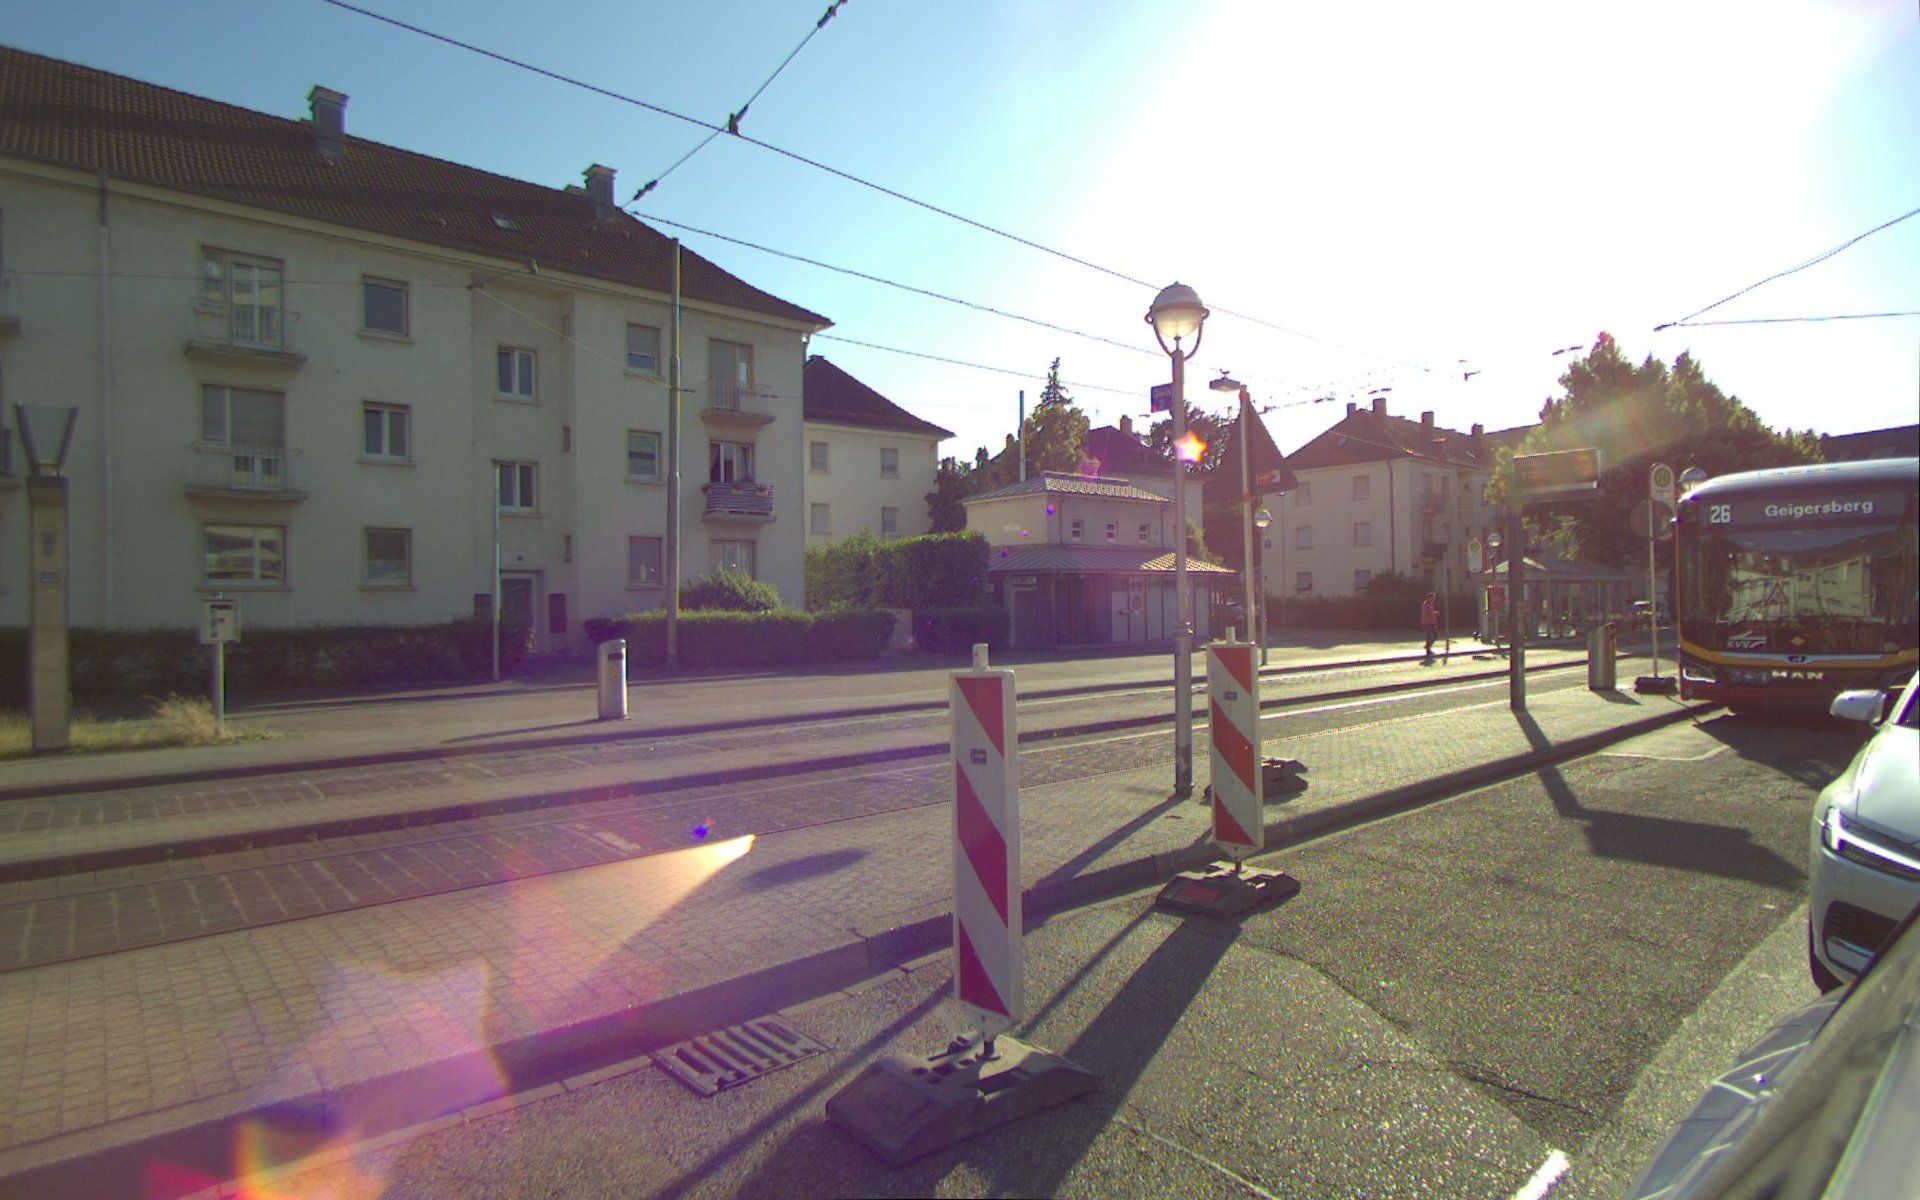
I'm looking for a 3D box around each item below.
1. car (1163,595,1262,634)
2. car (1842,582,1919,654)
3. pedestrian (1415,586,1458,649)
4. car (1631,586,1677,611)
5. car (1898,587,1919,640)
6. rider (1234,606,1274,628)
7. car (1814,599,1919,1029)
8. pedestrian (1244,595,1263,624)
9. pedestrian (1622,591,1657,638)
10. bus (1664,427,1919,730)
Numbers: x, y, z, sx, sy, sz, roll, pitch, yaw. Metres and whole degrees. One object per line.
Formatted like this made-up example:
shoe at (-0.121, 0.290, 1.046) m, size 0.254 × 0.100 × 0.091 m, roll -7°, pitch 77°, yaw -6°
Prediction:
car at (11.584, 0.684, 46.669) m, size 1.964 × 1.694 × 4.050 m, roll -1°, pitch -1°, yaw -39°
car at (21.224, 0.365, 22.365) m, size 4.740 × 1.477 × 1.968 m, roll 0°, pitch 0°, yaw -41°
pedestrian at (13.466, 0.485, 28.591) m, size 0.811 × 1.740 × 0.841 m, roll 0°, pitch 0°, yaw -40°
car at (53.779, -0.103, 78.435) m, size 3.930 × 1.887 × 1.997 m, roll -1°, pitch 0°, yaw -41°
car at (28.783, 0.375, 29.230) m, size 4.740 × 1.477 × 1.968 m, roll 0°, pitch 0°, yaw -41°
rider at (14.194, 0.802, 48.915) m, size 0.570 × 1.004 × 1.856 m, roll 0°, pitch 0°, yaw -37°
car at (5.271, 0.736, 4.360) m, size 4.143 × 1.472 × 1.819 m, roll 0°, pitch 0°, yaw -41°
pedestrian at (14.191, 0.460, 48.905) m, size 0.570 × 1.398 × 0.658 m, roll 0°, pitch 0°, yaw -38°
pedestrian at (24.011, 0.507, 35.789) m, size 0.814 × 1.631 × 0.837 m, roll 0°, pitch 0°, yaw 19°
bus at (14.316, -0.259, 15.847) m, size 11.824 × 3.345 × 2.745 m, roll 0°, pitch 0°, yaw -42°
